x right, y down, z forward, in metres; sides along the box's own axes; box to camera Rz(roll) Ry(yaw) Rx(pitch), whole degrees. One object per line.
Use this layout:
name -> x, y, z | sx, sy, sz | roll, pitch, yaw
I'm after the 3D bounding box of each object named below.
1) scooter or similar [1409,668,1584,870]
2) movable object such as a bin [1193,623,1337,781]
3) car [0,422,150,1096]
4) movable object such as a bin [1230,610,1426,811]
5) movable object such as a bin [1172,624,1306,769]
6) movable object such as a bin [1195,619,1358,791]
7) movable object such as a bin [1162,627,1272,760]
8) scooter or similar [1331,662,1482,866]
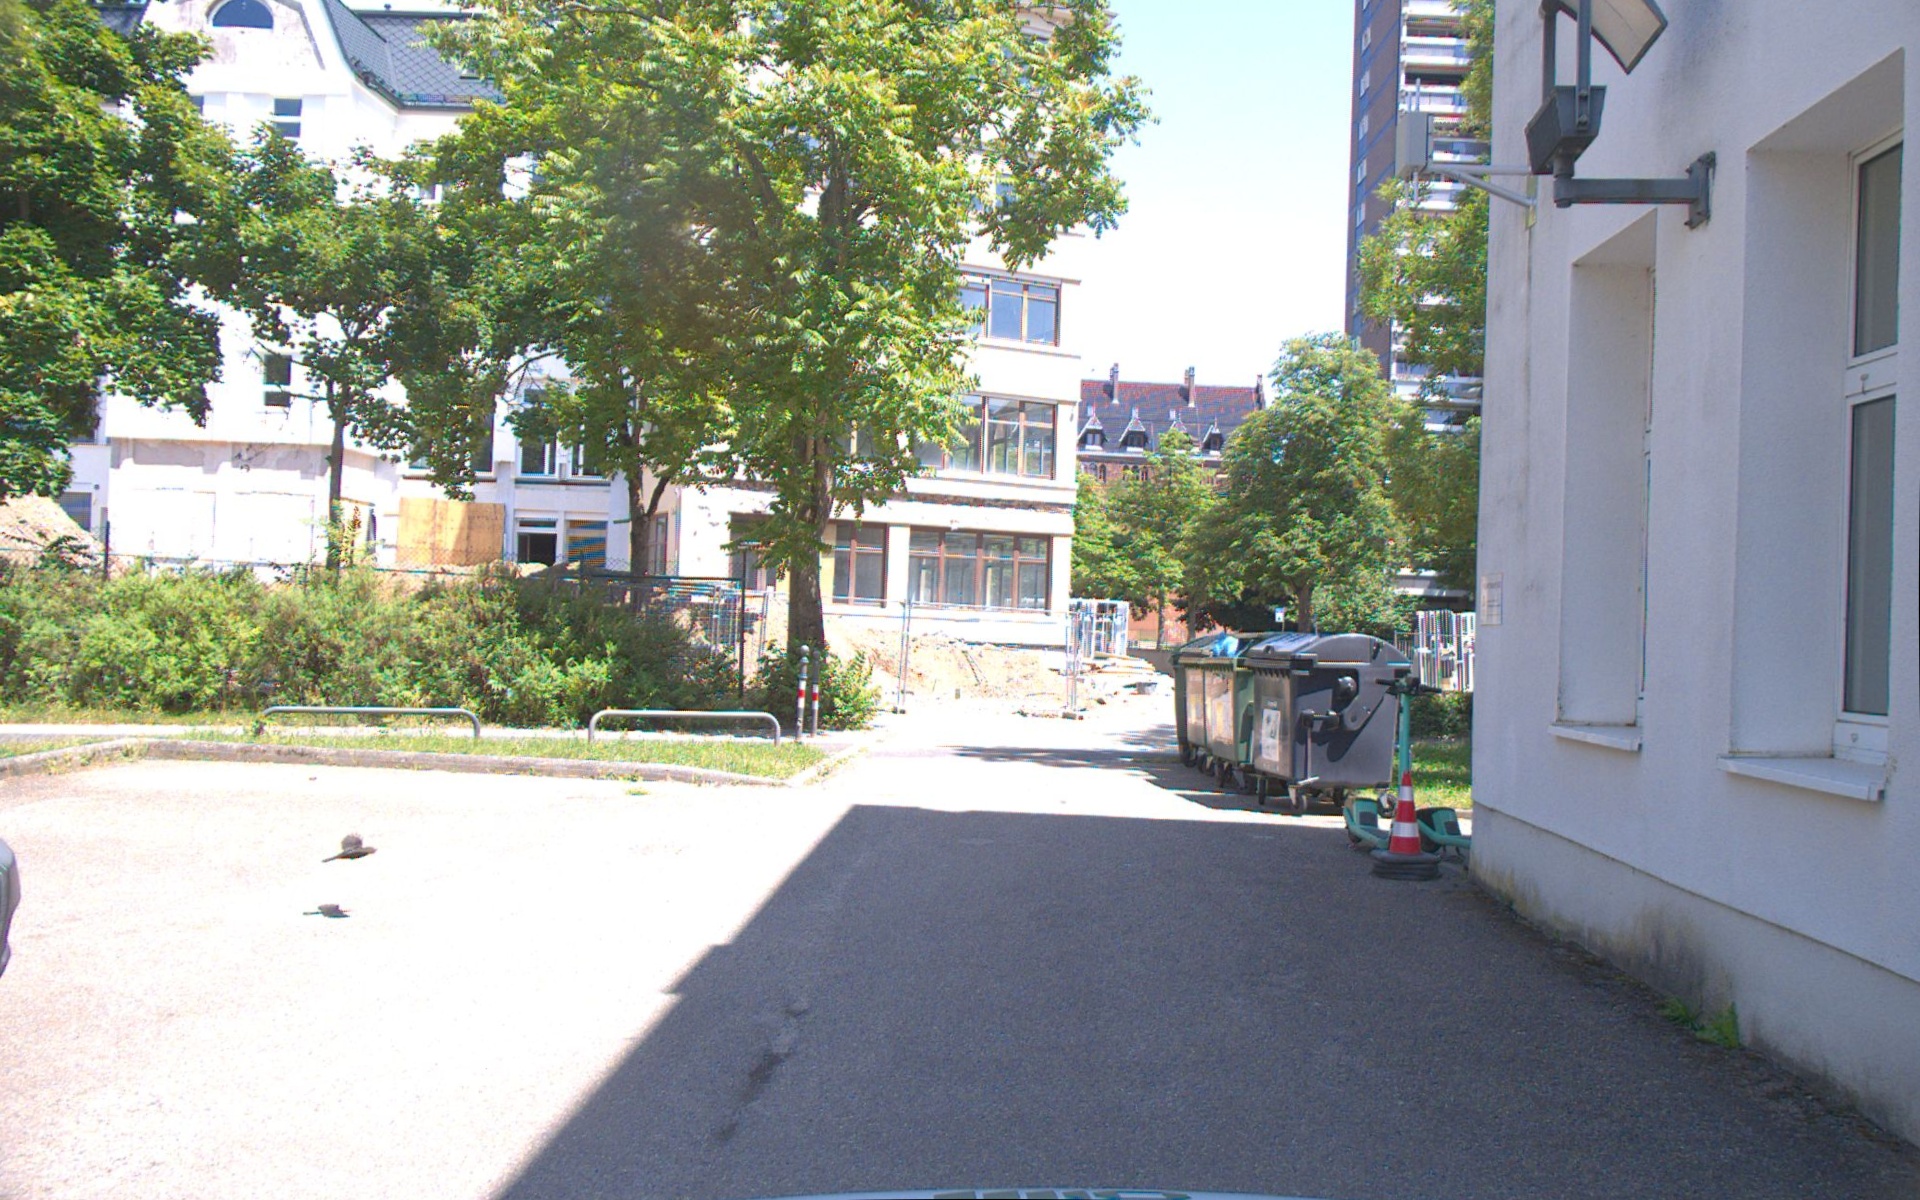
scooter or similar -> 3.450, 1.061, 10.724 | 0.456, 1.194, 1.251 | 2, -2, -15
movable object such as a bin -> 3.077, 1.018, 16.823 | 1.155, 1.495, 1.311 | 2, -2, -2
car -> -5.096, 0.408, 4.530 | 4.693, 1.945, 1.999 | 1, 0, -3
movable object such as a bin -> 3.013, 0.893, 13.706 | 1.133, 1.532, 1.460 | 3, -2, -7
movable object such as a bin -> 3.056, 1.047, 18.265 | 1.155, 1.495, 1.310 | 2, -2, -3
movable object such as a bin -> 2.928, 0.959, 15.443 | 1.156, 1.495, 1.310 | 2, -2, -4
movable object such as a bin -> 3.093, 1.105, 19.804 | 1.154, 1.495, 1.334 | 2, -2, 13
scooter or similar -> 2.858, 1.020, 10.696 | 0.454, 1.194, 1.355 | 2, -1, -6
